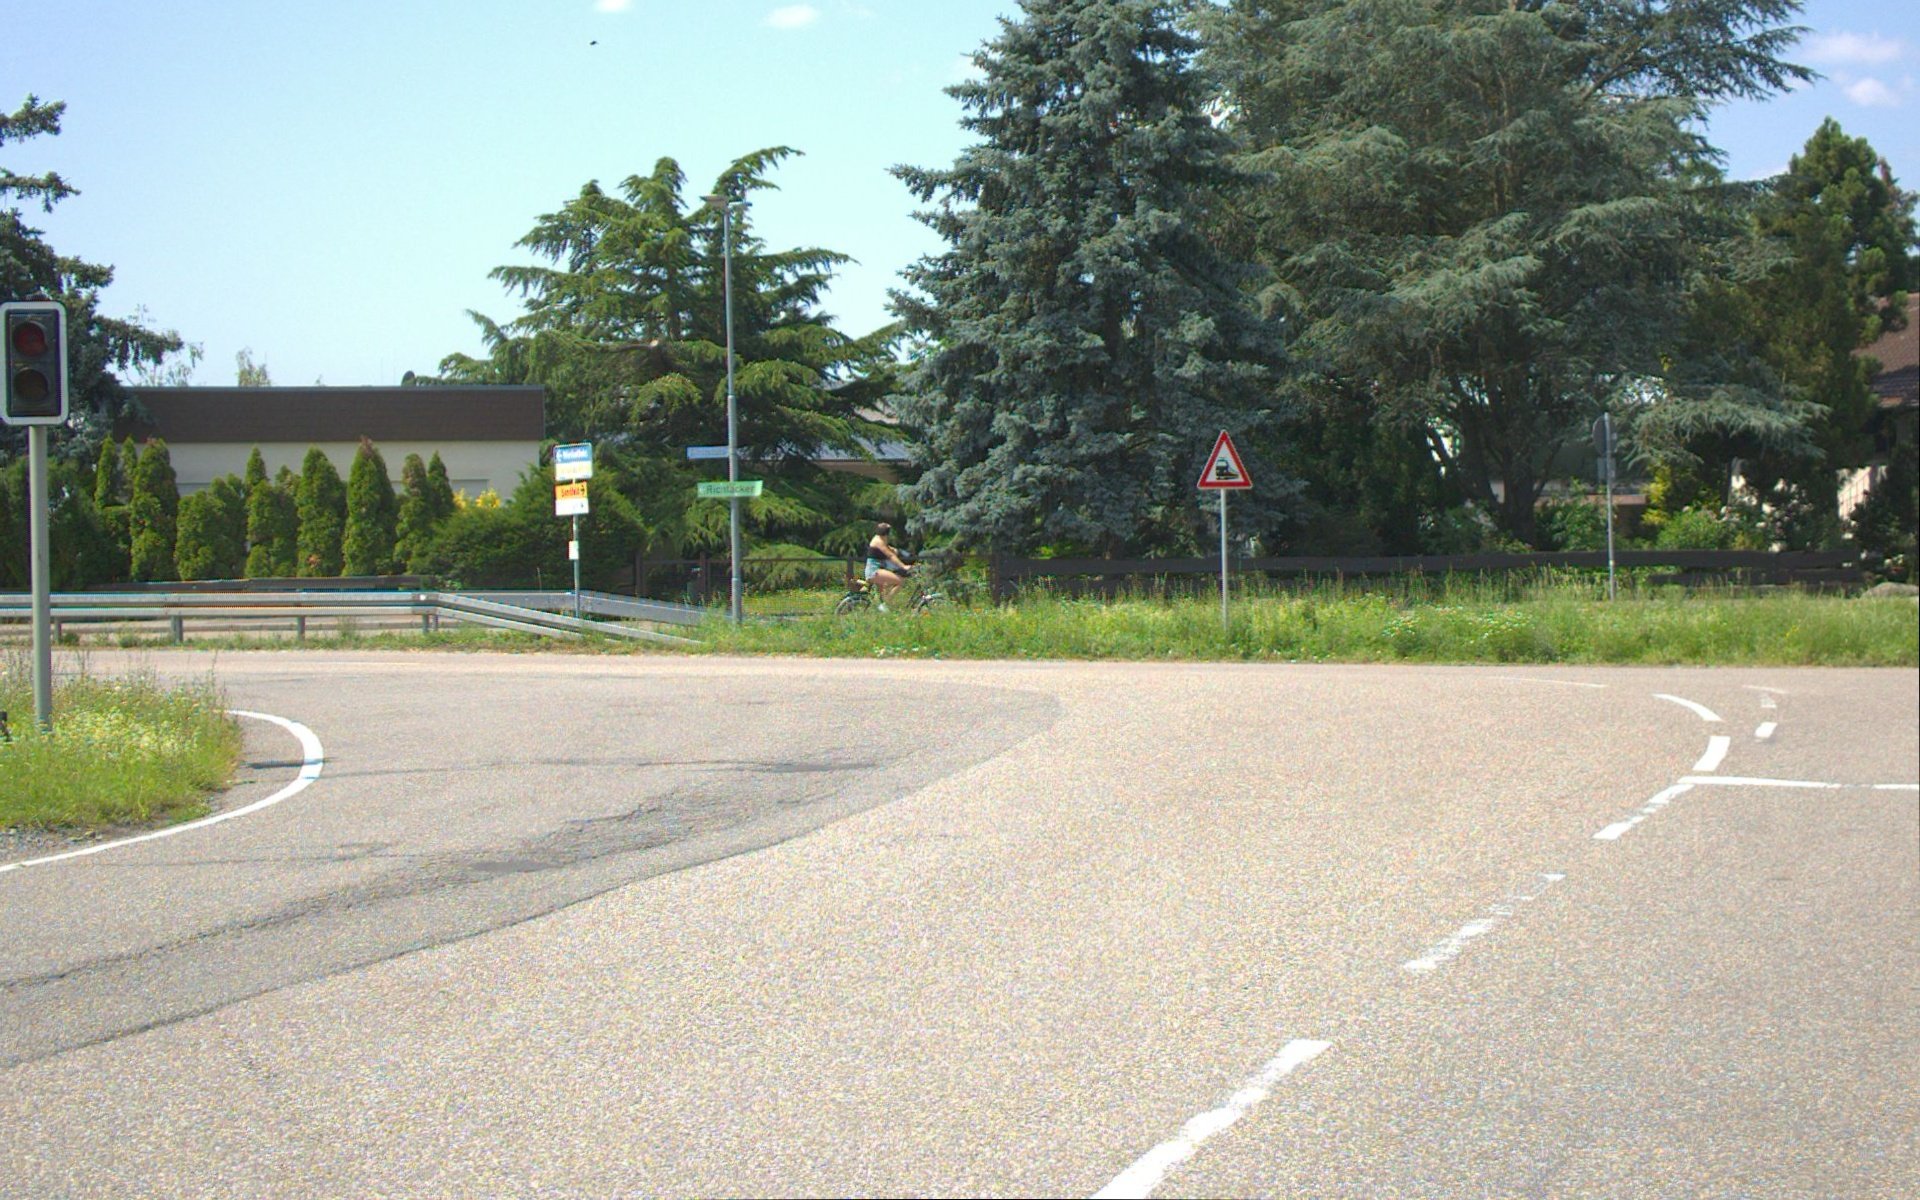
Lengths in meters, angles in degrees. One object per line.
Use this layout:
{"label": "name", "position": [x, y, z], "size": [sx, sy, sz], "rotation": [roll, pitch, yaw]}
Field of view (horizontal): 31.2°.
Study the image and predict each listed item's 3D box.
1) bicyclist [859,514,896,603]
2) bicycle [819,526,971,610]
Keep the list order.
{"label": "bicyclist", "position": [-1.180, -0.590, 48.990], "size": [0.510, 1.251, 0.469], "rotation": [-1, 1, -2]}
{"label": "bicycle", "position": [-0.931, -0.455, 49.019], "size": [2.139, 1.161, 0.661], "rotation": [-1, 1, -2]}
